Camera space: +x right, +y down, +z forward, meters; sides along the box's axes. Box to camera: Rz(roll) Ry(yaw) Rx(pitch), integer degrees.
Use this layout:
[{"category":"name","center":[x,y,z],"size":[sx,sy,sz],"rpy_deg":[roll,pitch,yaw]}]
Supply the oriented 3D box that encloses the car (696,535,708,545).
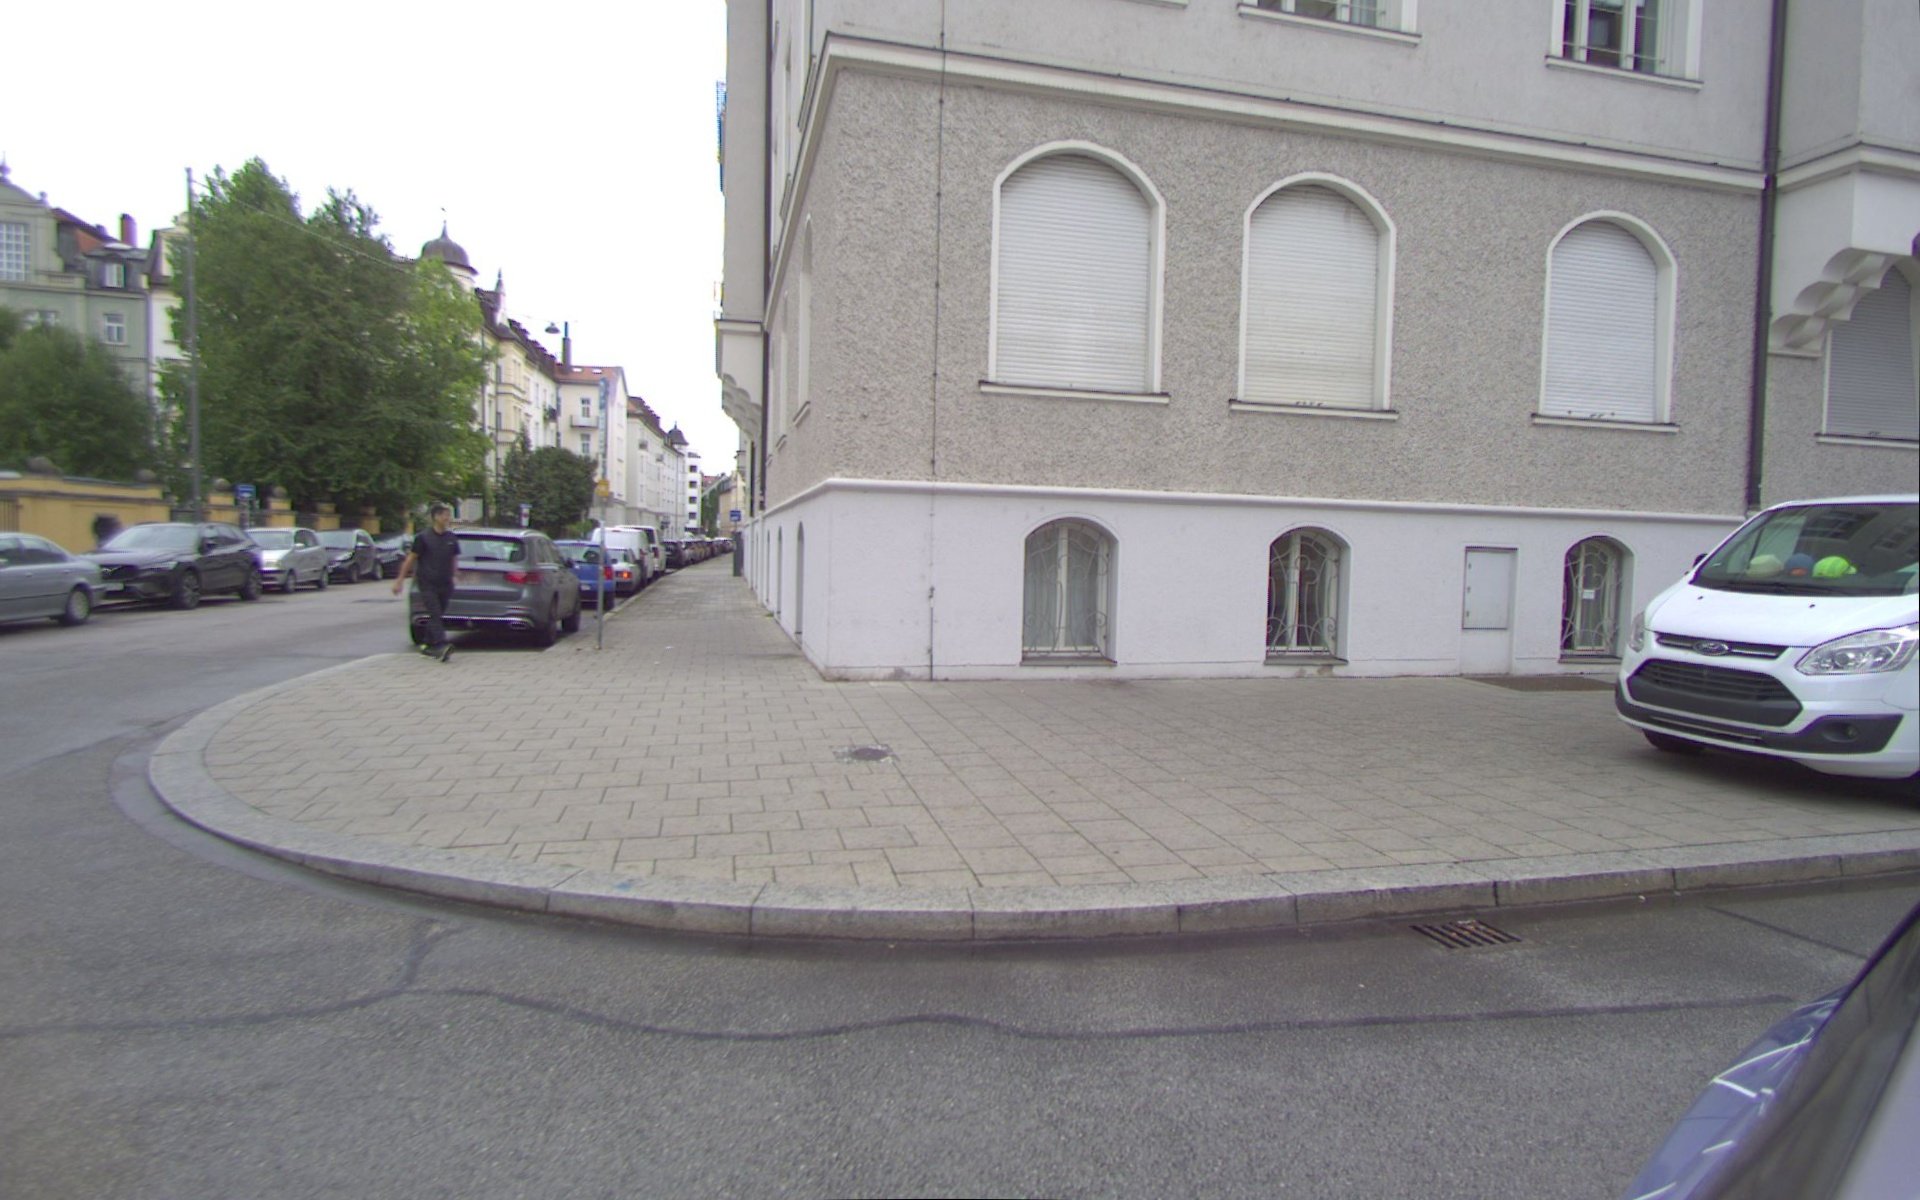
[{"category":"car","center":[-41.368,-9.542,162.106],"size":[1.759,1.565,3.620],"rpy_deg":[0,3,-15]}]

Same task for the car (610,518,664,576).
[{"category":"car","center":[-12.229,-2.045,38.481],"size":[1.780,2.060,4.045],"rpy_deg":[0,3,-16]}]

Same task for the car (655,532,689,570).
[{"category":"car","center":[-16.200,-2.799,56.985],"size":[1.780,2.060,4.045],"rpy_deg":[0,3,-16]}]

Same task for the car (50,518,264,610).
[{"category":"car","center":[-15.230,-0.730,19.489],"size":[1.759,1.565,3.968],"rpy_deg":[0,3,-15]}]

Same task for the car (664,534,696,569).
[{"category":"car","center":[-17.038,-2.987,61.560],"size":[1.780,2.060,4.045],"rpy_deg":[0,3,-16]}]

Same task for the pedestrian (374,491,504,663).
[{"category":"pedestrian","center":[-5.855,-0.285,11.402],"size":[0.924,1.822,0.988],"rpy_deg":[3,4,35]}]

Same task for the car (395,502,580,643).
[{"category":"car","center":[-6.953,-0.484,15.353],"size":[1.853,1.817,4.262],"rpy_deg":[0,3,-16]}]

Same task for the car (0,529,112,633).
[{"category":"car","center":[-13.932,-0.281,13.852],"size":[1.763,1.385,4.477],"rpy_deg":[0,3,-14]}]

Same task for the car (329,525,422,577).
[{"category":"car","center":[-18.692,-1.593,32.525],"size":[1.759,1.565,3.313],"rpy_deg":[0,3,-15]}]

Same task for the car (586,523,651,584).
[{"category":"car","center":[-10.855,-1.521,32.372],"size":[1.760,1.804,3.850],"rpy_deg":[0,3,-16]}]

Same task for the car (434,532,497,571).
[{"category":"car","center":[-20.835,-2.060,42.744],"size":[1.759,1.565,3.313],"rpy_deg":[0,3,-15]}]

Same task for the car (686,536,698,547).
[{"category":"car","center":[-40.210,-8.802,151.995],"size":[1.759,1.565,3.620],"rpy_deg":[0,3,-15]}]

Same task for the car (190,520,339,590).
[{"category":"car","center":[-16.836,-1.125,24.730],"size":[1.759,1.565,3.968],"rpy_deg":[0,3,-15]}]

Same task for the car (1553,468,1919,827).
[{"category":"car","center":[7.148,0.201,7.108],"size":[5.261,1.944,1.950],"rpy_deg":[0,4,-16]}]

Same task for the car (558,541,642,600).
[{"category":"car","center":[-9.720,-0.853,27.593],"size":[1.853,1.421,4.262],"rpy_deg":[0,3,-16]}]

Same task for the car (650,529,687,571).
[{"category":"car","center":[-14.992,-2.583,52.124],"size":[1.780,2.060,4.045],"rpy_deg":[0,3,-16]}]

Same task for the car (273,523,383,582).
[{"category":"car","center":[-18.072,-1.380,29.112],"size":[1.759,1.565,3.313],"rpy_deg":[0,3,-15]}]

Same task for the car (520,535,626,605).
[{"category":"car","center":[-8.697,-0.746,23.056],"size":[1.853,1.421,4.262],"rpy_deg":[0,3,-16]}]

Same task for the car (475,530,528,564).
[{"category":"car","center":[-21.907,-2.555,48.440],"size":[1.759,1.565,3.313],"rpy_deg":[0,3,-15]}]
